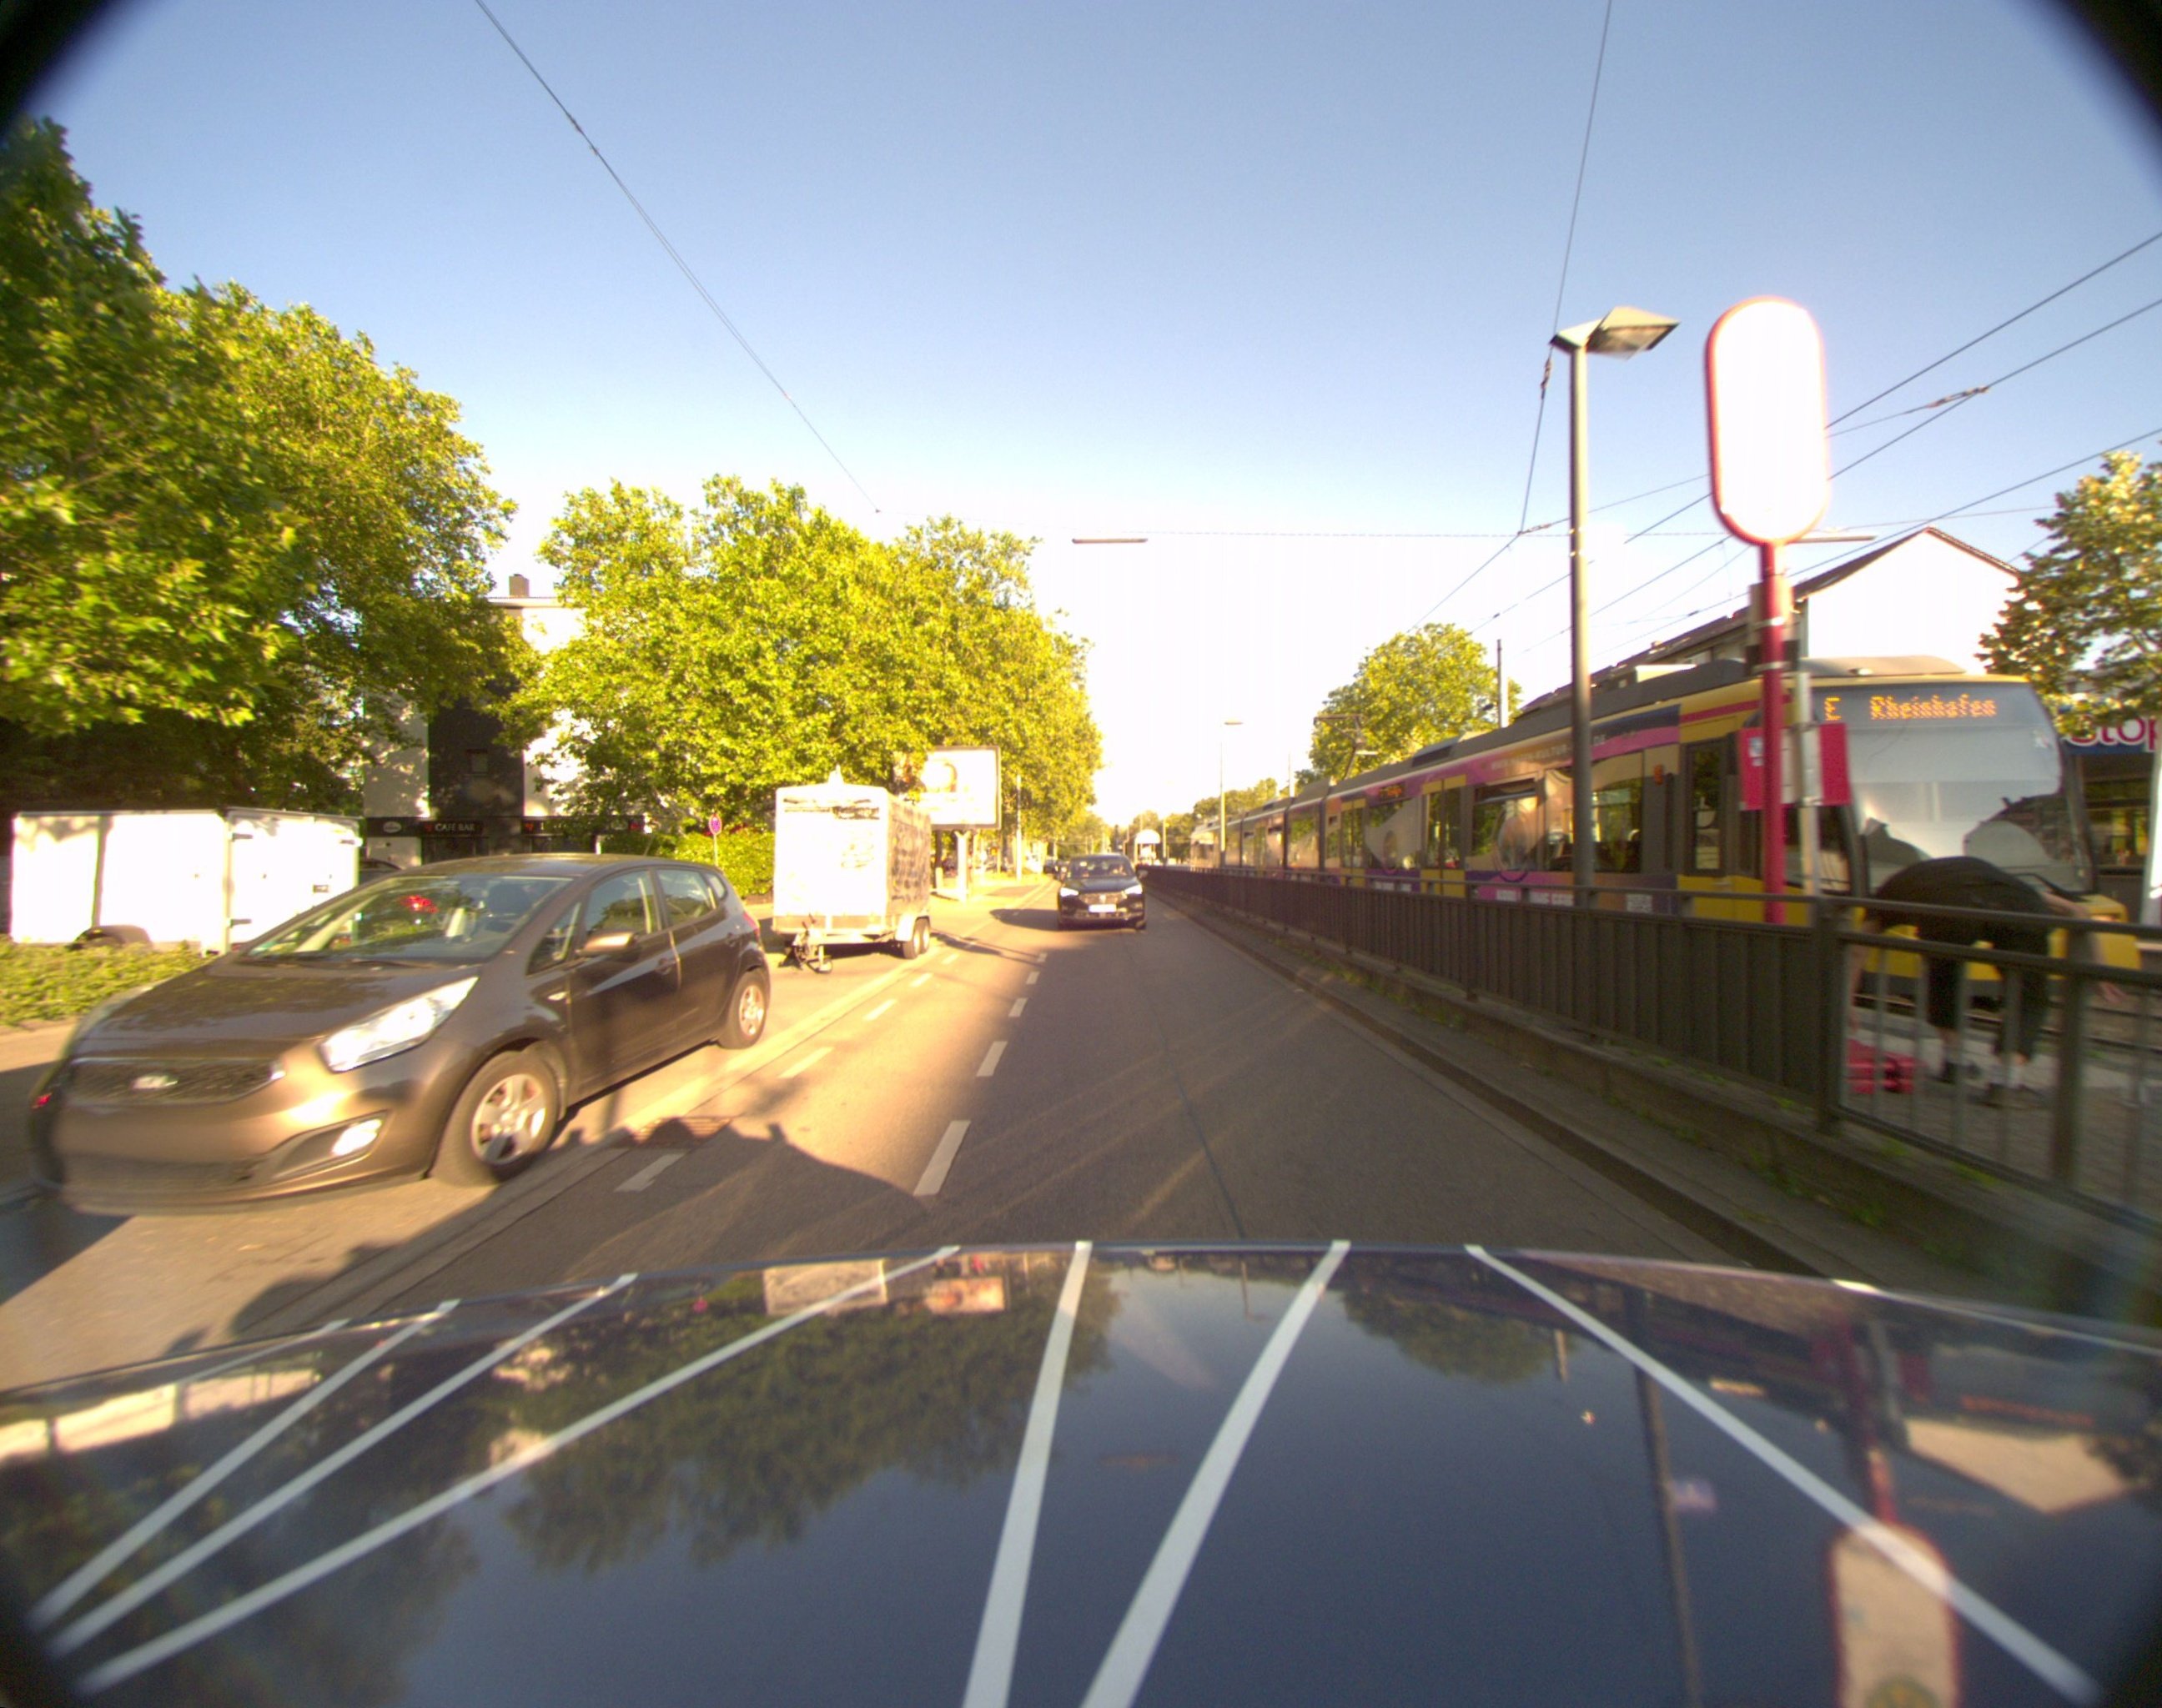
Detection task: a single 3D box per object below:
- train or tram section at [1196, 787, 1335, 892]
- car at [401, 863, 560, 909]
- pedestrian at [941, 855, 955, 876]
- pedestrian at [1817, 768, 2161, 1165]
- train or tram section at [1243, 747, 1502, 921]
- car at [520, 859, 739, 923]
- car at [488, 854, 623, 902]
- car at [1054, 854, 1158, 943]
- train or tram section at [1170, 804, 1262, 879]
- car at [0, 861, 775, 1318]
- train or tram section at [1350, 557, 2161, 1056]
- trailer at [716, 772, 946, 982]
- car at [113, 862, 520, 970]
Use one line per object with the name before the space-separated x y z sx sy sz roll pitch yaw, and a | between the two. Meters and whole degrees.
train or tram section | 6.974 -0.522 30.623 3.043 3.497 10.095 1 0 0
car | -21.530 1.098 27.484 1.997 1.467 4.204 0 0 11
pedestrian | -12.076 1.058 68.815 1.062 1.853 0.951 0 0 1
pedestrian | 4.148 0.433 3.413 0.918 1.541 0.789 -2 1 -7
train or tram section | 6.999 -0.435 20.507 3.043 3.497 10.095 1 0 0
car | -11.245 0.884 19.218 4.293 1.487 1.999 0 0 -4
car | -18.938 0.815 27.652 1.819 1.600 4.299 0 0 1
car | 0.407 0.847 16.487 1.911 1.606 4.085 -3 0 -2
train or tram section | 6.943 -0.605 40.731 3.043 3.497 10.095 1 0 0
car | -3.666 0.881 4.759 1.800 1.621 4.000 0 0 1
train or tram section | 7.050 -0.357 10.417 3.043 3.497 10.095 1 0 0
trailer | -3.488 0.289 11.660 1.890 2.573 4.651 0 0 1
car | -11.813 0.904 12.031 4.293 1.487 1.999 0 0 -3
